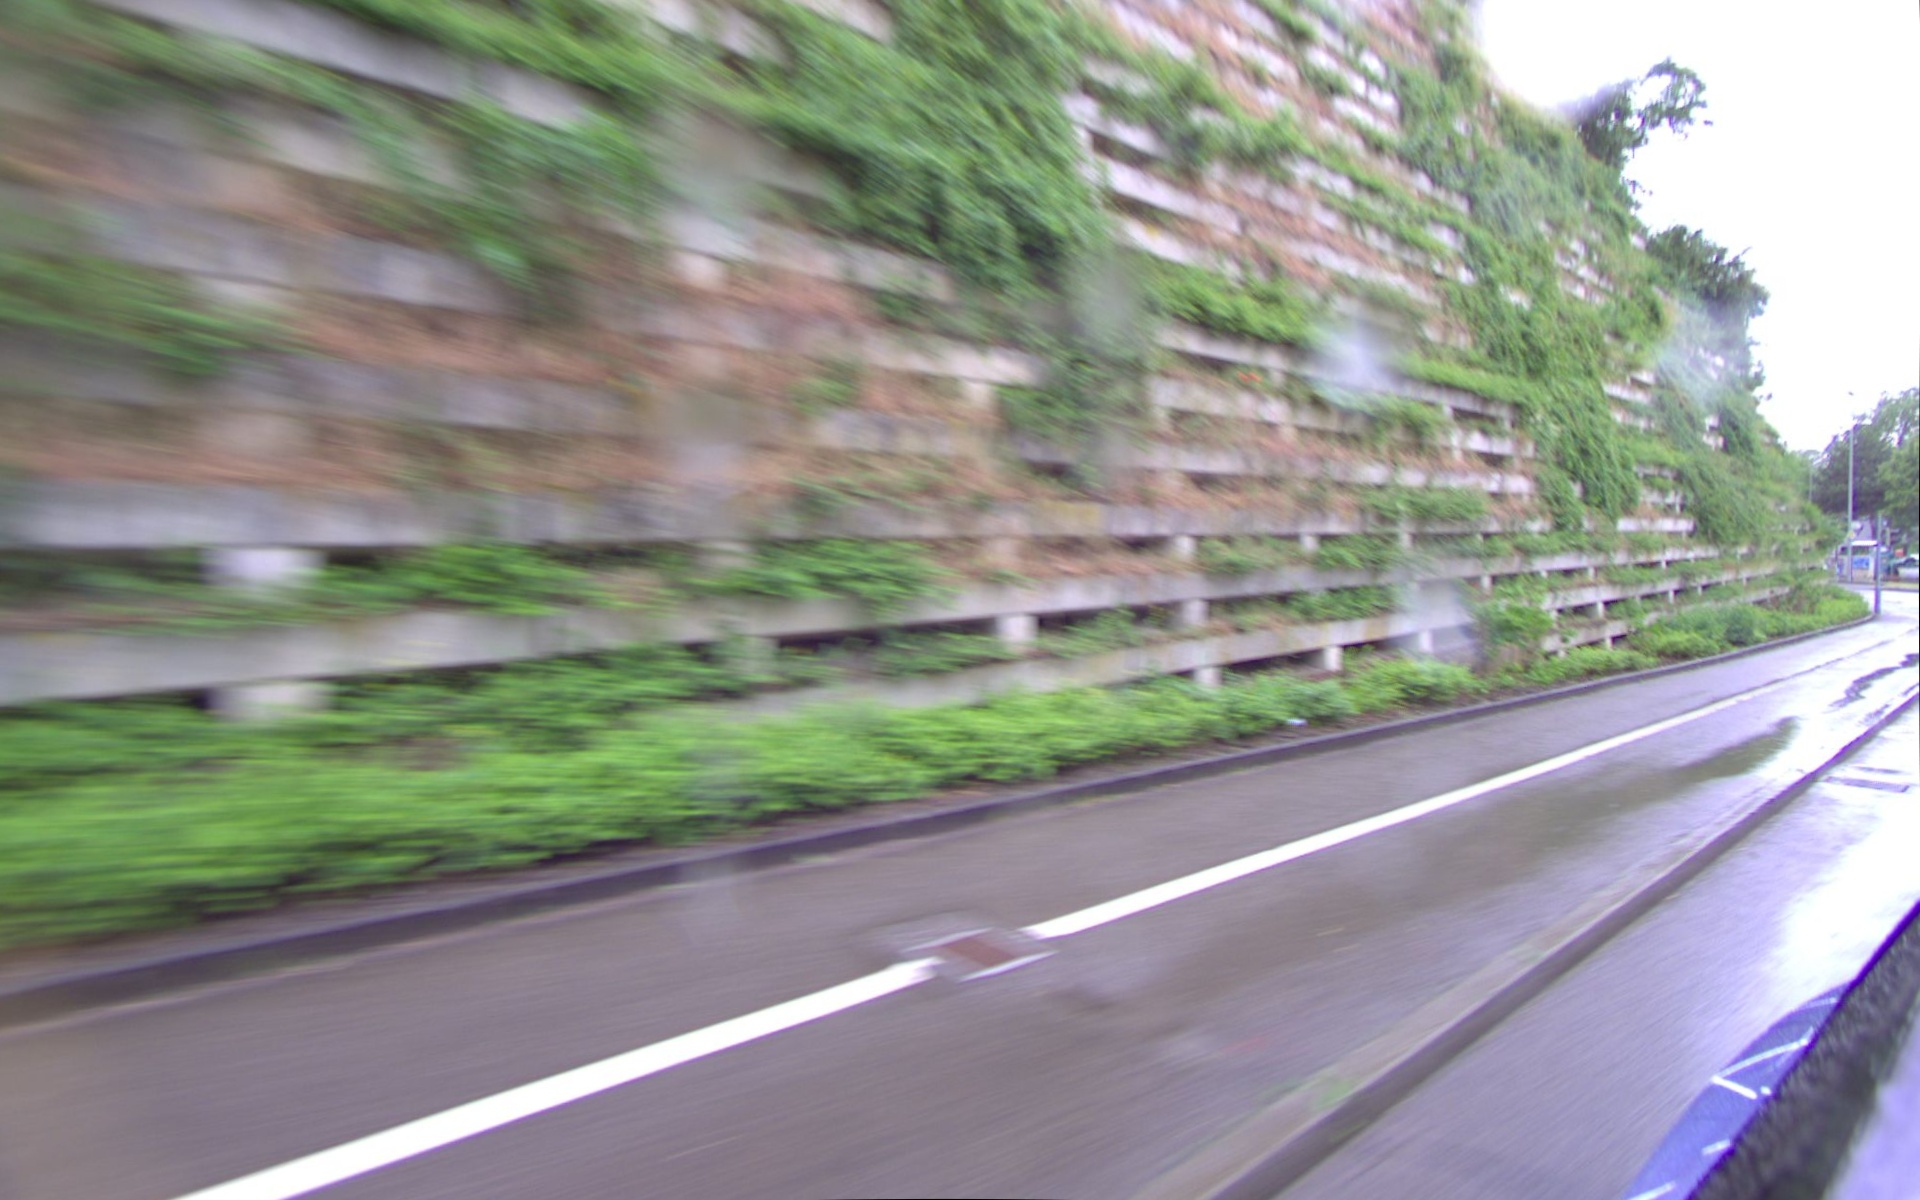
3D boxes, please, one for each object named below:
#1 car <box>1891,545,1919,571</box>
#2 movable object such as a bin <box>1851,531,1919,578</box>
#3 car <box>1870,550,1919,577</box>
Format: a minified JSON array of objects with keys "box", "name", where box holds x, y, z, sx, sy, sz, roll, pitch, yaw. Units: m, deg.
[{"box":[70.542,-2.966,73.189,1.888,1.786,4.388,-2,6,-40],"name":"car"},{"box":[57.320,-2.721,61.388,2.277,2.718,5.683,3,4,13],"name":"movable object such as a bin"},{"box":[61.397,-2.320,65.066,1.641,1.592,3.997,-2,6,-41],"name":"car"}]
